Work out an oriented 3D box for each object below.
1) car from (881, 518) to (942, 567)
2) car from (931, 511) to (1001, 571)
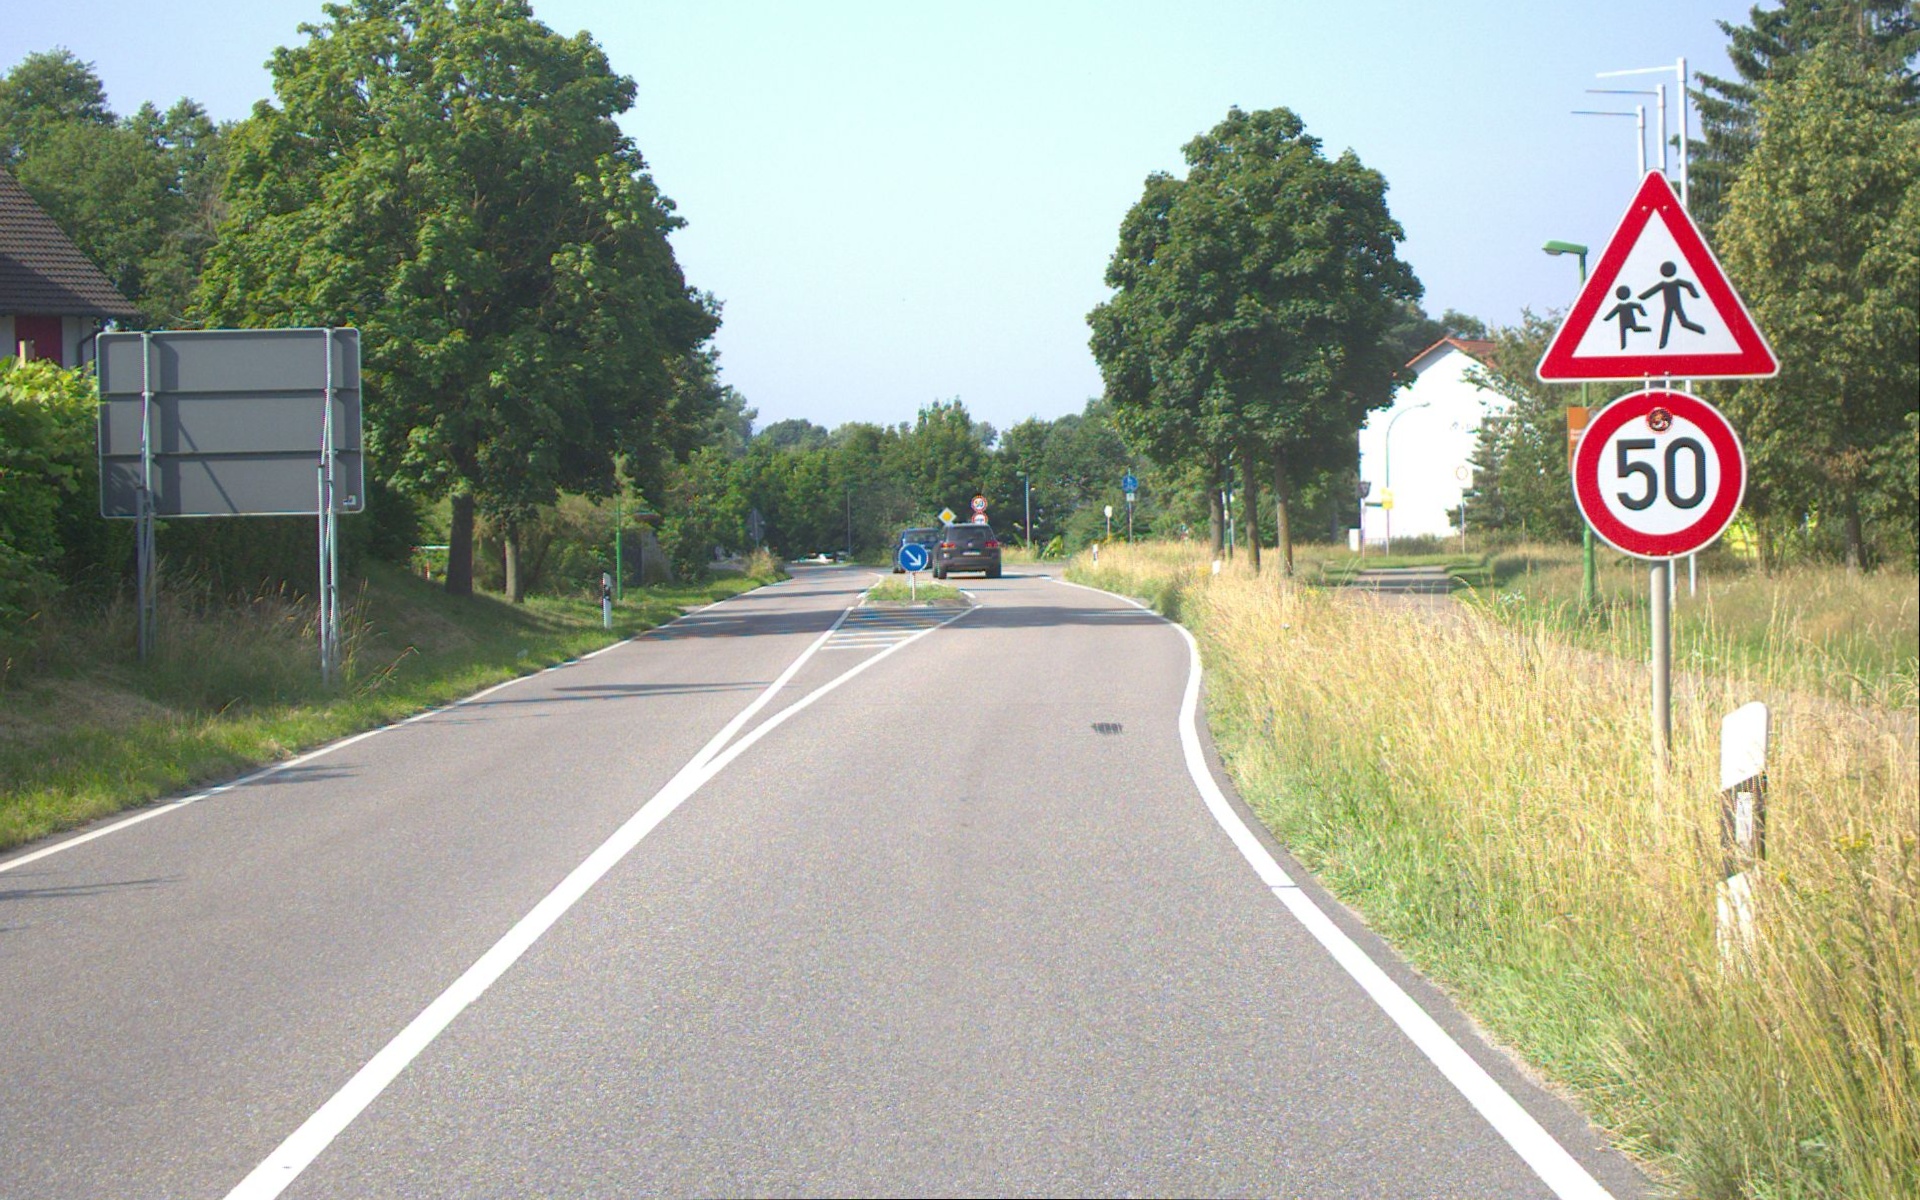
[{"bbox_3d":[-1.800,-2.144,127.207,2.004,1.765,4.001,-1,2,-4],"label":"car"},{"bbox_3d":[0.155,-1.820,105.074,1.925,1.765,4.001,-1,2,-3],"label":"car"}]
